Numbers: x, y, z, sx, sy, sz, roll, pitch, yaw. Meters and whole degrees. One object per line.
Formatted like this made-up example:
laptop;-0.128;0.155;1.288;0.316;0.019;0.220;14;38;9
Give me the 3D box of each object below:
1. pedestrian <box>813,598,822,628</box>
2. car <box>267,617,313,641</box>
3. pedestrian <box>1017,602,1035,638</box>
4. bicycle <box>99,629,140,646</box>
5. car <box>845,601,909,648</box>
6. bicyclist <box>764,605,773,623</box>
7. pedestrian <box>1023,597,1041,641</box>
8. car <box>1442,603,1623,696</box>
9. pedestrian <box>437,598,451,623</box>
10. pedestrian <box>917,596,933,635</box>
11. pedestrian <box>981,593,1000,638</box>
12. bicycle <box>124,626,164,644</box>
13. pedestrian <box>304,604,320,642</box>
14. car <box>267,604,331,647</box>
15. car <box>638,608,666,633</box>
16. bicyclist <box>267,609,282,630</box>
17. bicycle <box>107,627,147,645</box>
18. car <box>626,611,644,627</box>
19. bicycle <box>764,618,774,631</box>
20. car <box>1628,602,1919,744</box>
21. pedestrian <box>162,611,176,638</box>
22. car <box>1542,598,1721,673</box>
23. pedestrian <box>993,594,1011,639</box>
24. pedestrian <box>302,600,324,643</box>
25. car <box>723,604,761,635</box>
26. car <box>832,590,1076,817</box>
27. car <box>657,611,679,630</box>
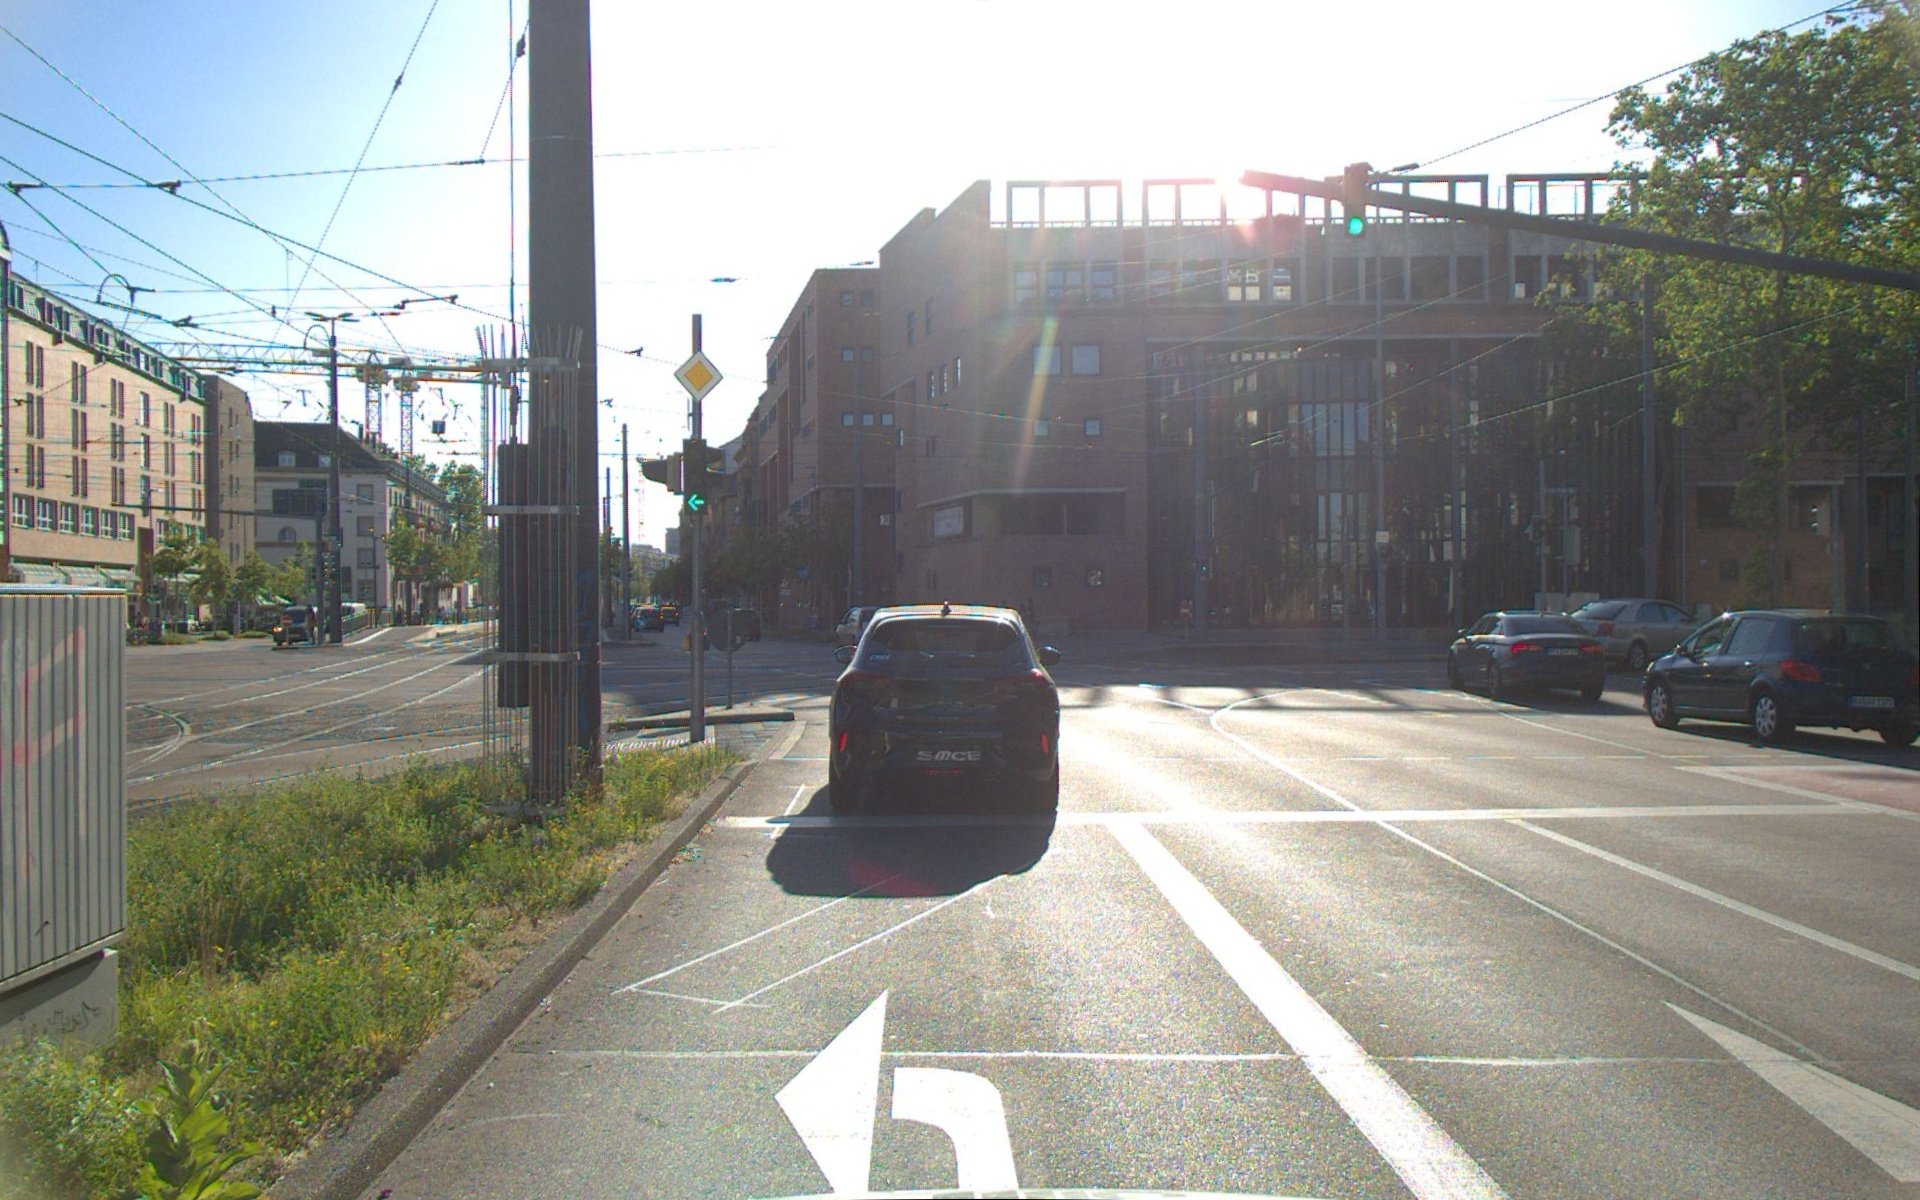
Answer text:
pedestrian;-8.589;0.785;99.685;0.537;1.817;0.572;-1;2;-9
car;-38.935;1.679;96.222;1.808;1.290;4.215;-3;0;-13
pedestrian;2.795;0.862;70.325;0.541;1.503;0.568;-1;1;-29
bicycle;-46.268;2.045;91.054;1.992;0.860;0.483;-1;0;-2
car;-2.740;0.780;54.001;1.533;1.481;3.420;-1;0;-13
bicyclist;-14.522;1.046;125.399;0.634;1.363;0.651;-1;0;-10
pedestrian;2.993;0.791;68.972;0.563;1.817;0.546;-1;0;-20
car;9.586;0.797;27.997;1.660;1.465;4.018;0;-1;0
pedestrian;-35.668;0.733;114.260;0.849;1.699;0.779;0;1;-22
pedestrian;-1.649;0.712;77.673;0.628;1.817;0.687;-1;0;-9
pedestrian;1.255;0.626;67.727;0.563;1.817;0.546;-1;0;-20
bicycle;-46.252;1.977;93.710;1.992;0.937;0.483;-1;0;-2
pedestrian;-27.653;0.979;70.550;0.573;1.604;0.641;-1;0;-25
car;-31.114;1.165;77.962;1.805;1.868;4.099;-2;0;-9
car;-19.447;1.281;104.272;1.690;1.479;3.687;-1;0;-11
bicyclist;-47.619;1.347;114.866;0.796;1.401;0.922;-1;0;-13
bicycle;-46.593;2.010;92.514;1.992;0.937;0.483;-1;0;-2
car;-31.030;1.837;157.878;1.489;1.479;3.572;-1;0;-13
bicycle;-14.498;1.849;125.307;0.636;0.920;2.340;0;0;-10
car;9.854;0.790;19.949;1.824;1.500;3.975;-1;0;-3
pedestrian;-53.805;1.677;112.517;0.703;1.795;0.564;-2;0;-9
car;14.390;0.723;35.398;3.935;1.500;1.680;-1;0;-35
pedestrian;1.711;0.660;67.198;0.563;1.817;0.546;-1;0;-20
pedestrian;-26.821;0.889;68.561;0.708;1.757;0.593;-1;0;-11
car;-11.029;0.978;83.600;1.641;1.479;3.687;-1;0;-11
car;-0.065;0.700;13.088;1.638;1.528;3.690;1;0;-1
car;-24.042;1.679;136.002;1.690;1.479;3.687;-1;0;-11
